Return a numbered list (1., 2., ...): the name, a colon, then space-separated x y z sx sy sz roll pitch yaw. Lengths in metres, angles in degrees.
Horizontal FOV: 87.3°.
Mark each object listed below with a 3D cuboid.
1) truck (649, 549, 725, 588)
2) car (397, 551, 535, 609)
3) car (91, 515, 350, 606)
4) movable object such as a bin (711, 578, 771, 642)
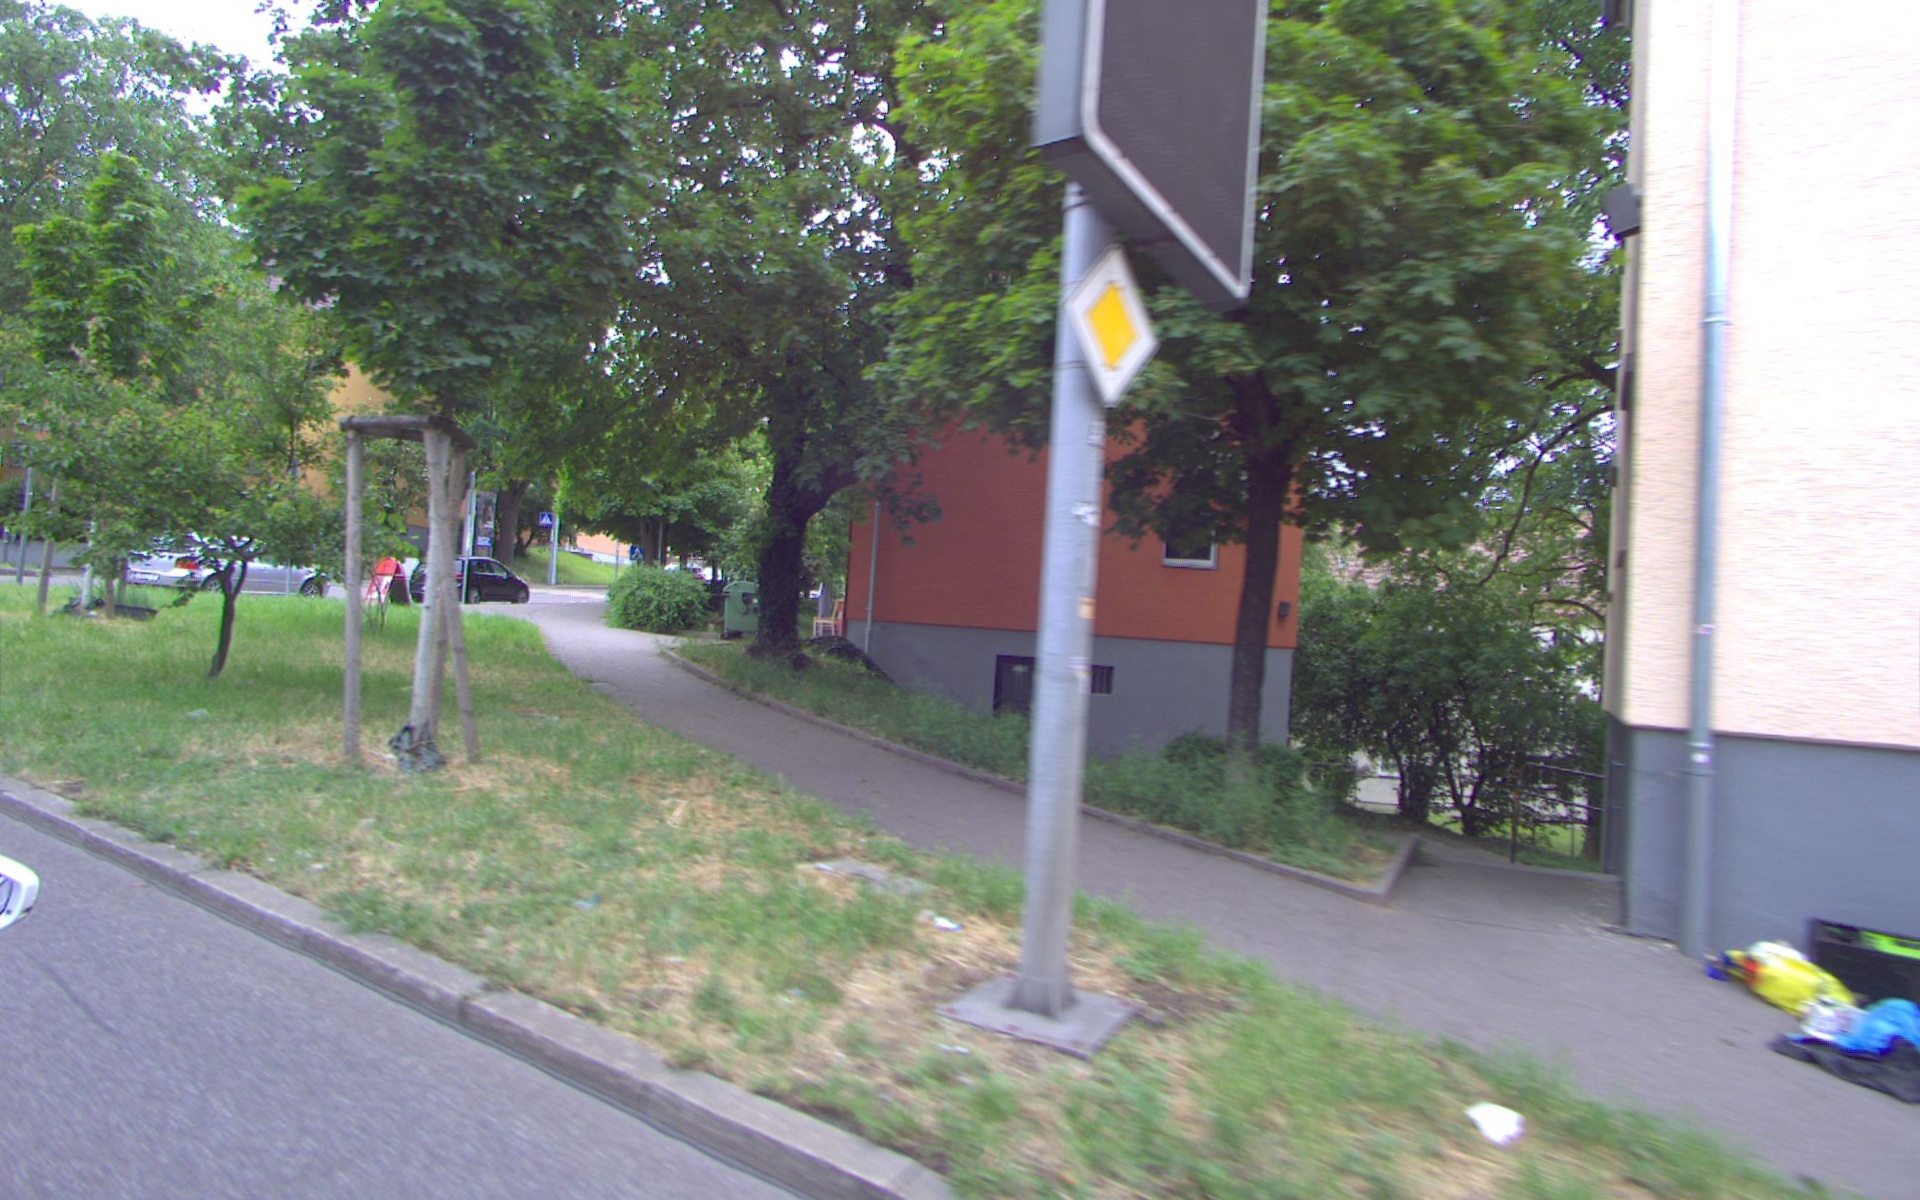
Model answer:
1. truck: -23.052 -2.645 84.951 5.884 2.767 2.000 5 0 16
2. car: -14.268 -0.525 29.339 1.704 1.446 4.131 4 0 3
3. car: -15.248 -0.738 21.061 1.827 1.446 4.132 7 0 11
4. movable object such as a bin: -5.407 0.238 24.909 1.220 1.469 1.081 4 0 -5
